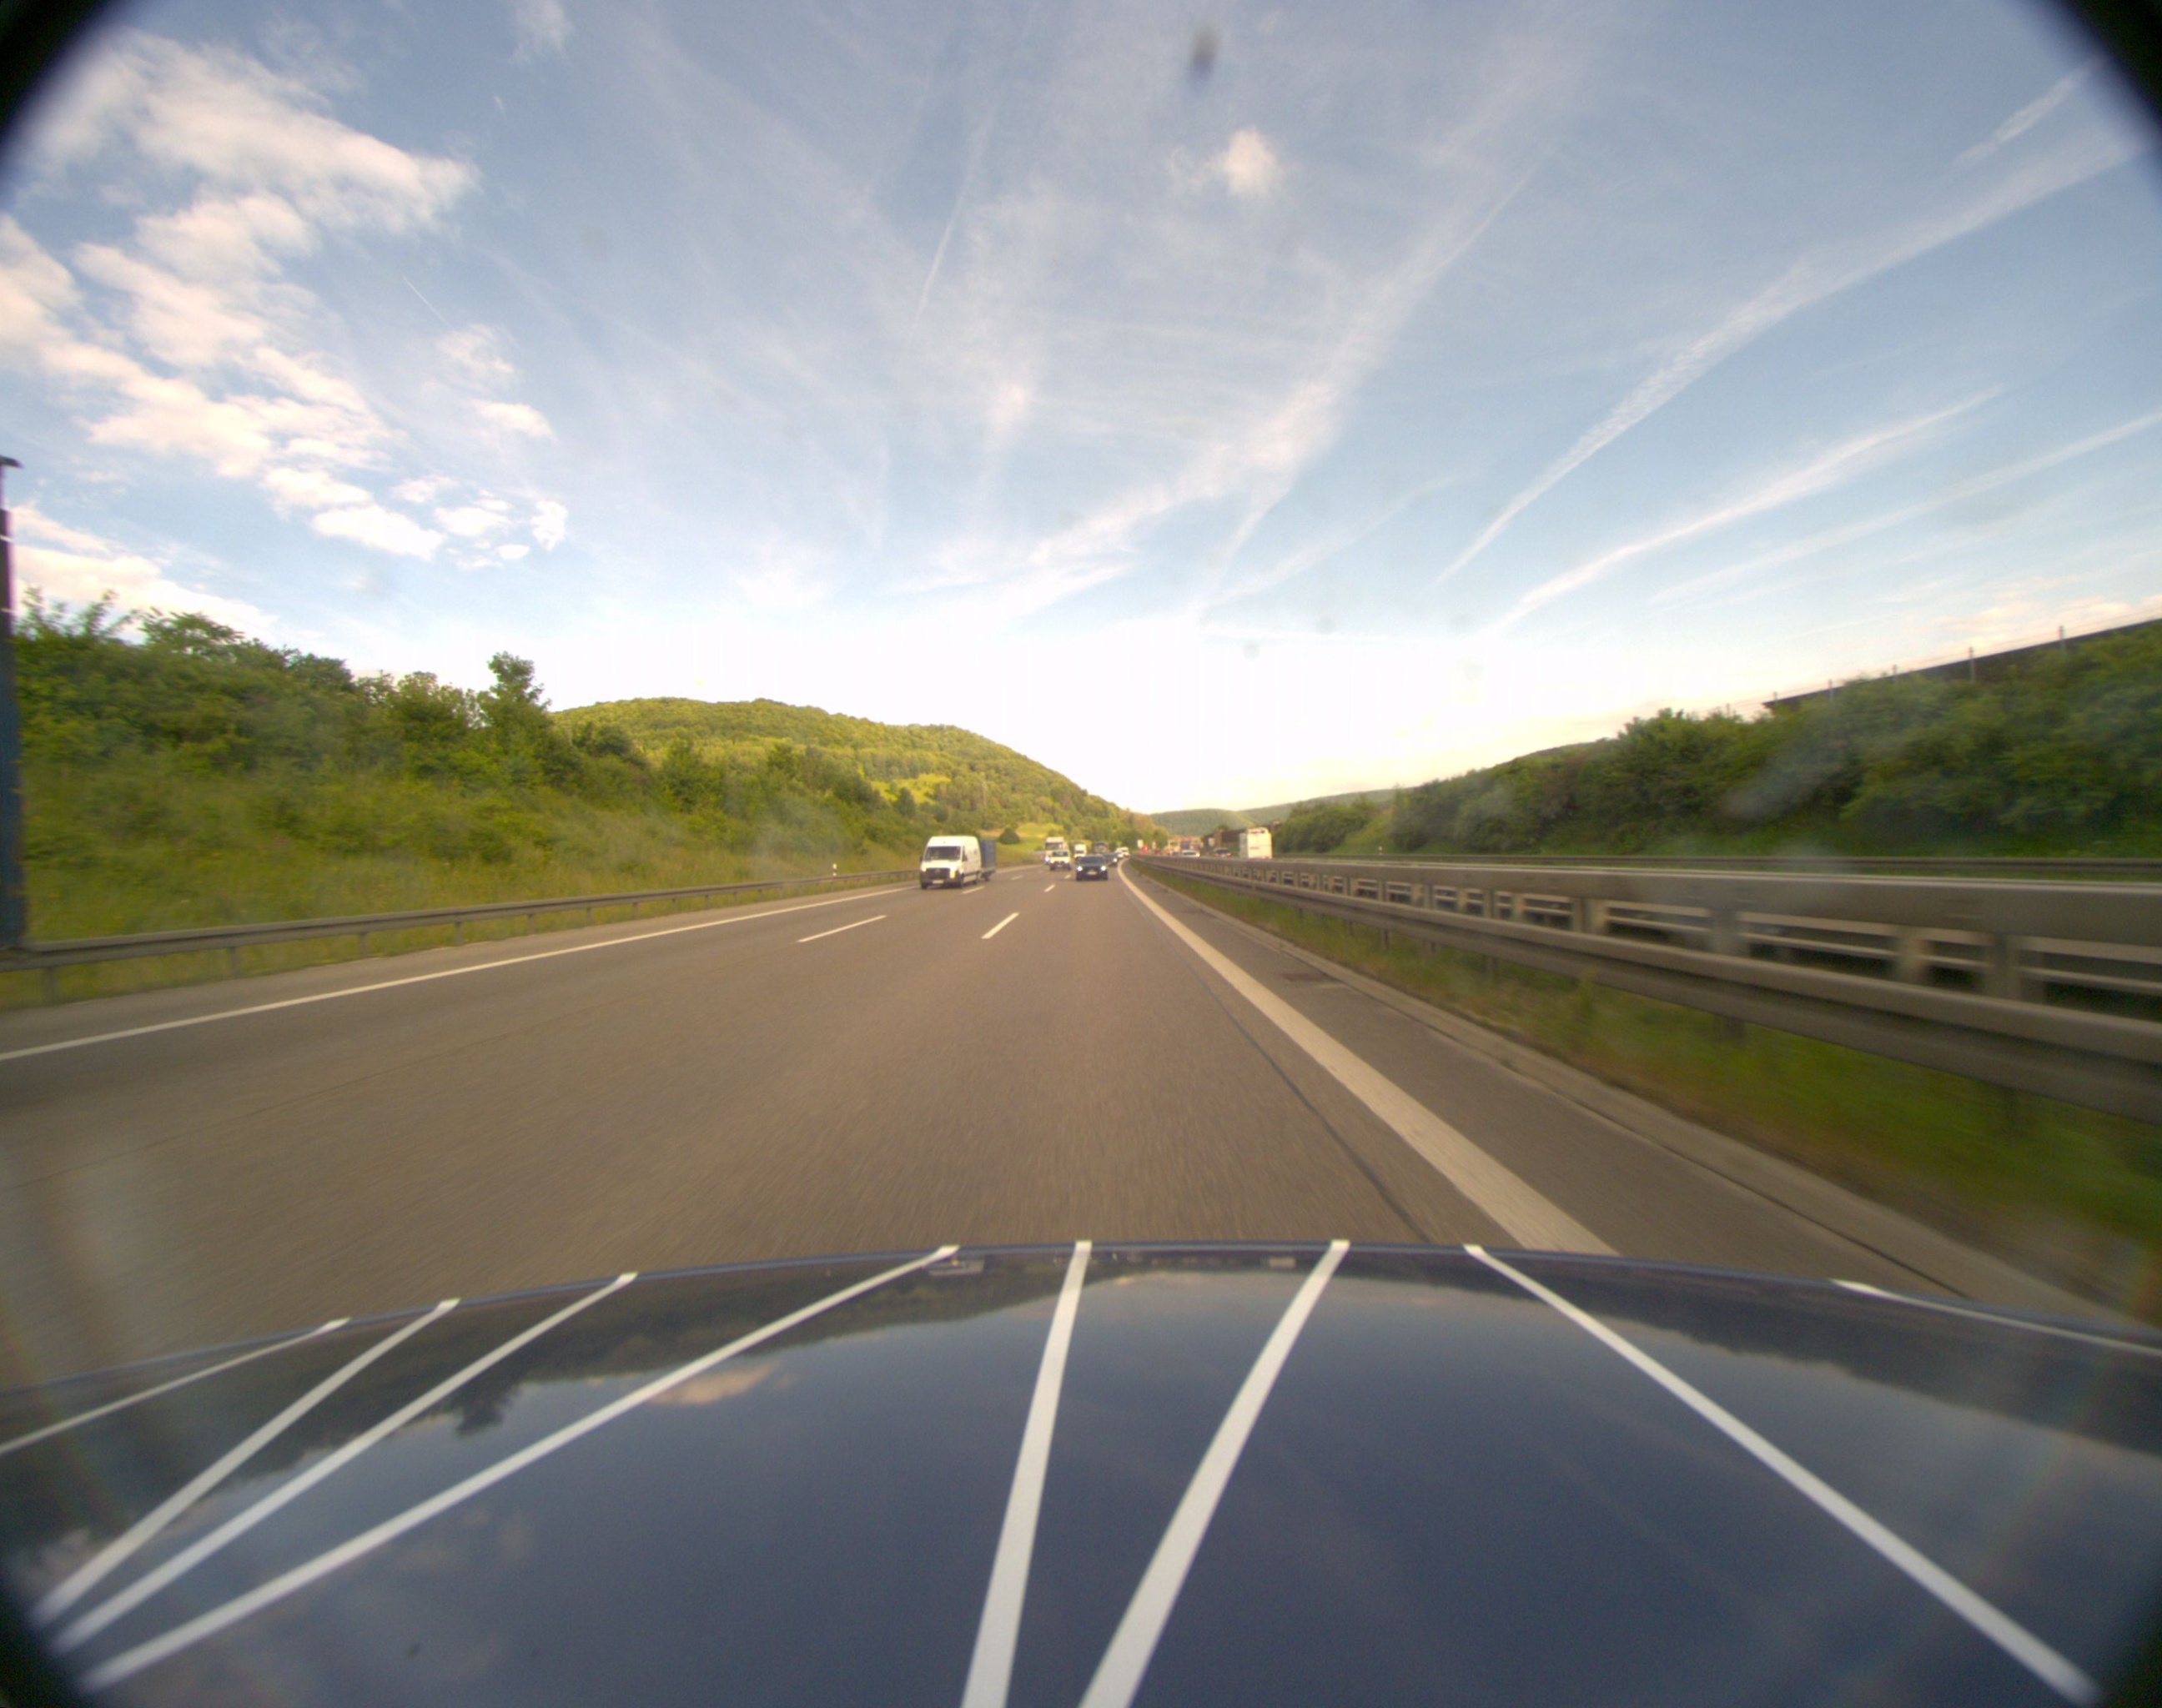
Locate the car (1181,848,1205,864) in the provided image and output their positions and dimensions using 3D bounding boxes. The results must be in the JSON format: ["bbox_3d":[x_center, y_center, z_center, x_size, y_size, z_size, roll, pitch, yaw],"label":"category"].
[{"bbox_3d":[10.260,0.156,69.918,1.784,1.401,3.763,-2,0,3],"label":"car"}]

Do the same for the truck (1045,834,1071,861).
[{"bbox_3d":[-3.391,-0.982,114.876,2.925,3.876,13.010,-2,0,2],"label":"truck"}]

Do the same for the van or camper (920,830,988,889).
[{"bbox_3d":[-6.407,0.252,39.249,1.998,2.701,7.523,-1,0,2],"label":"van or camper"}]

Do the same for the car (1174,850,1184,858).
[{"bbox_3d":[18.639,-0.083,144.788,1.647,1.427,4.345,-2,1,3],"label":"car"}]

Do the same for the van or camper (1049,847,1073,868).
[{"bbox_3d":[-1.848,0.275,71.356,1.998,1.881,4.487,-2,0,1],"label":"van or camper"}]

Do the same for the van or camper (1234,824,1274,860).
[{"bbox_3d":[17.938,-1.213,79.316,2.488,3.531,7.977,-2,0,2],"label":"van or camper"}]

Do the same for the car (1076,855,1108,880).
[{"bbox_3d":[0.662,0.757,43.869,1.580,1.310,4.001,-2,0,4],"label":"car"}]

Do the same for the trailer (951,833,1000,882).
[{"bbox_3d":[-6.215,0.189,45.371,1.998,2.710,5.249,-2,0,2],"label":"trailer"}]

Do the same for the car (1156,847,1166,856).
[{"bbox_3d":[18.772,-0.624,178.159,1.934,1.880,4.345,-2,0,3],"label":"car"}]

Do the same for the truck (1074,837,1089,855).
[{"bbox_3d":[0.015,-1.629,155.011,2.709,3.627,9.031,-2,0,-1],"label":"truck"}]

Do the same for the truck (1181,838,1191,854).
[{"bbox_3d":[30.486,-2.359,219.857,2.655,4.253,14.686,-1,0,8],"label":"truck"}]

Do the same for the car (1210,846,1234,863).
[{"bbox_3d":[14.034,0.032,75.779,1.647,1.646,4.345,-2,0,1],"label":"car"}]

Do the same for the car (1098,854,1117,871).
[{"bbox_3d":[2.959,0.910,83.709,1.998,1.870,4.001,-1,0,4],"label":"car"}]
